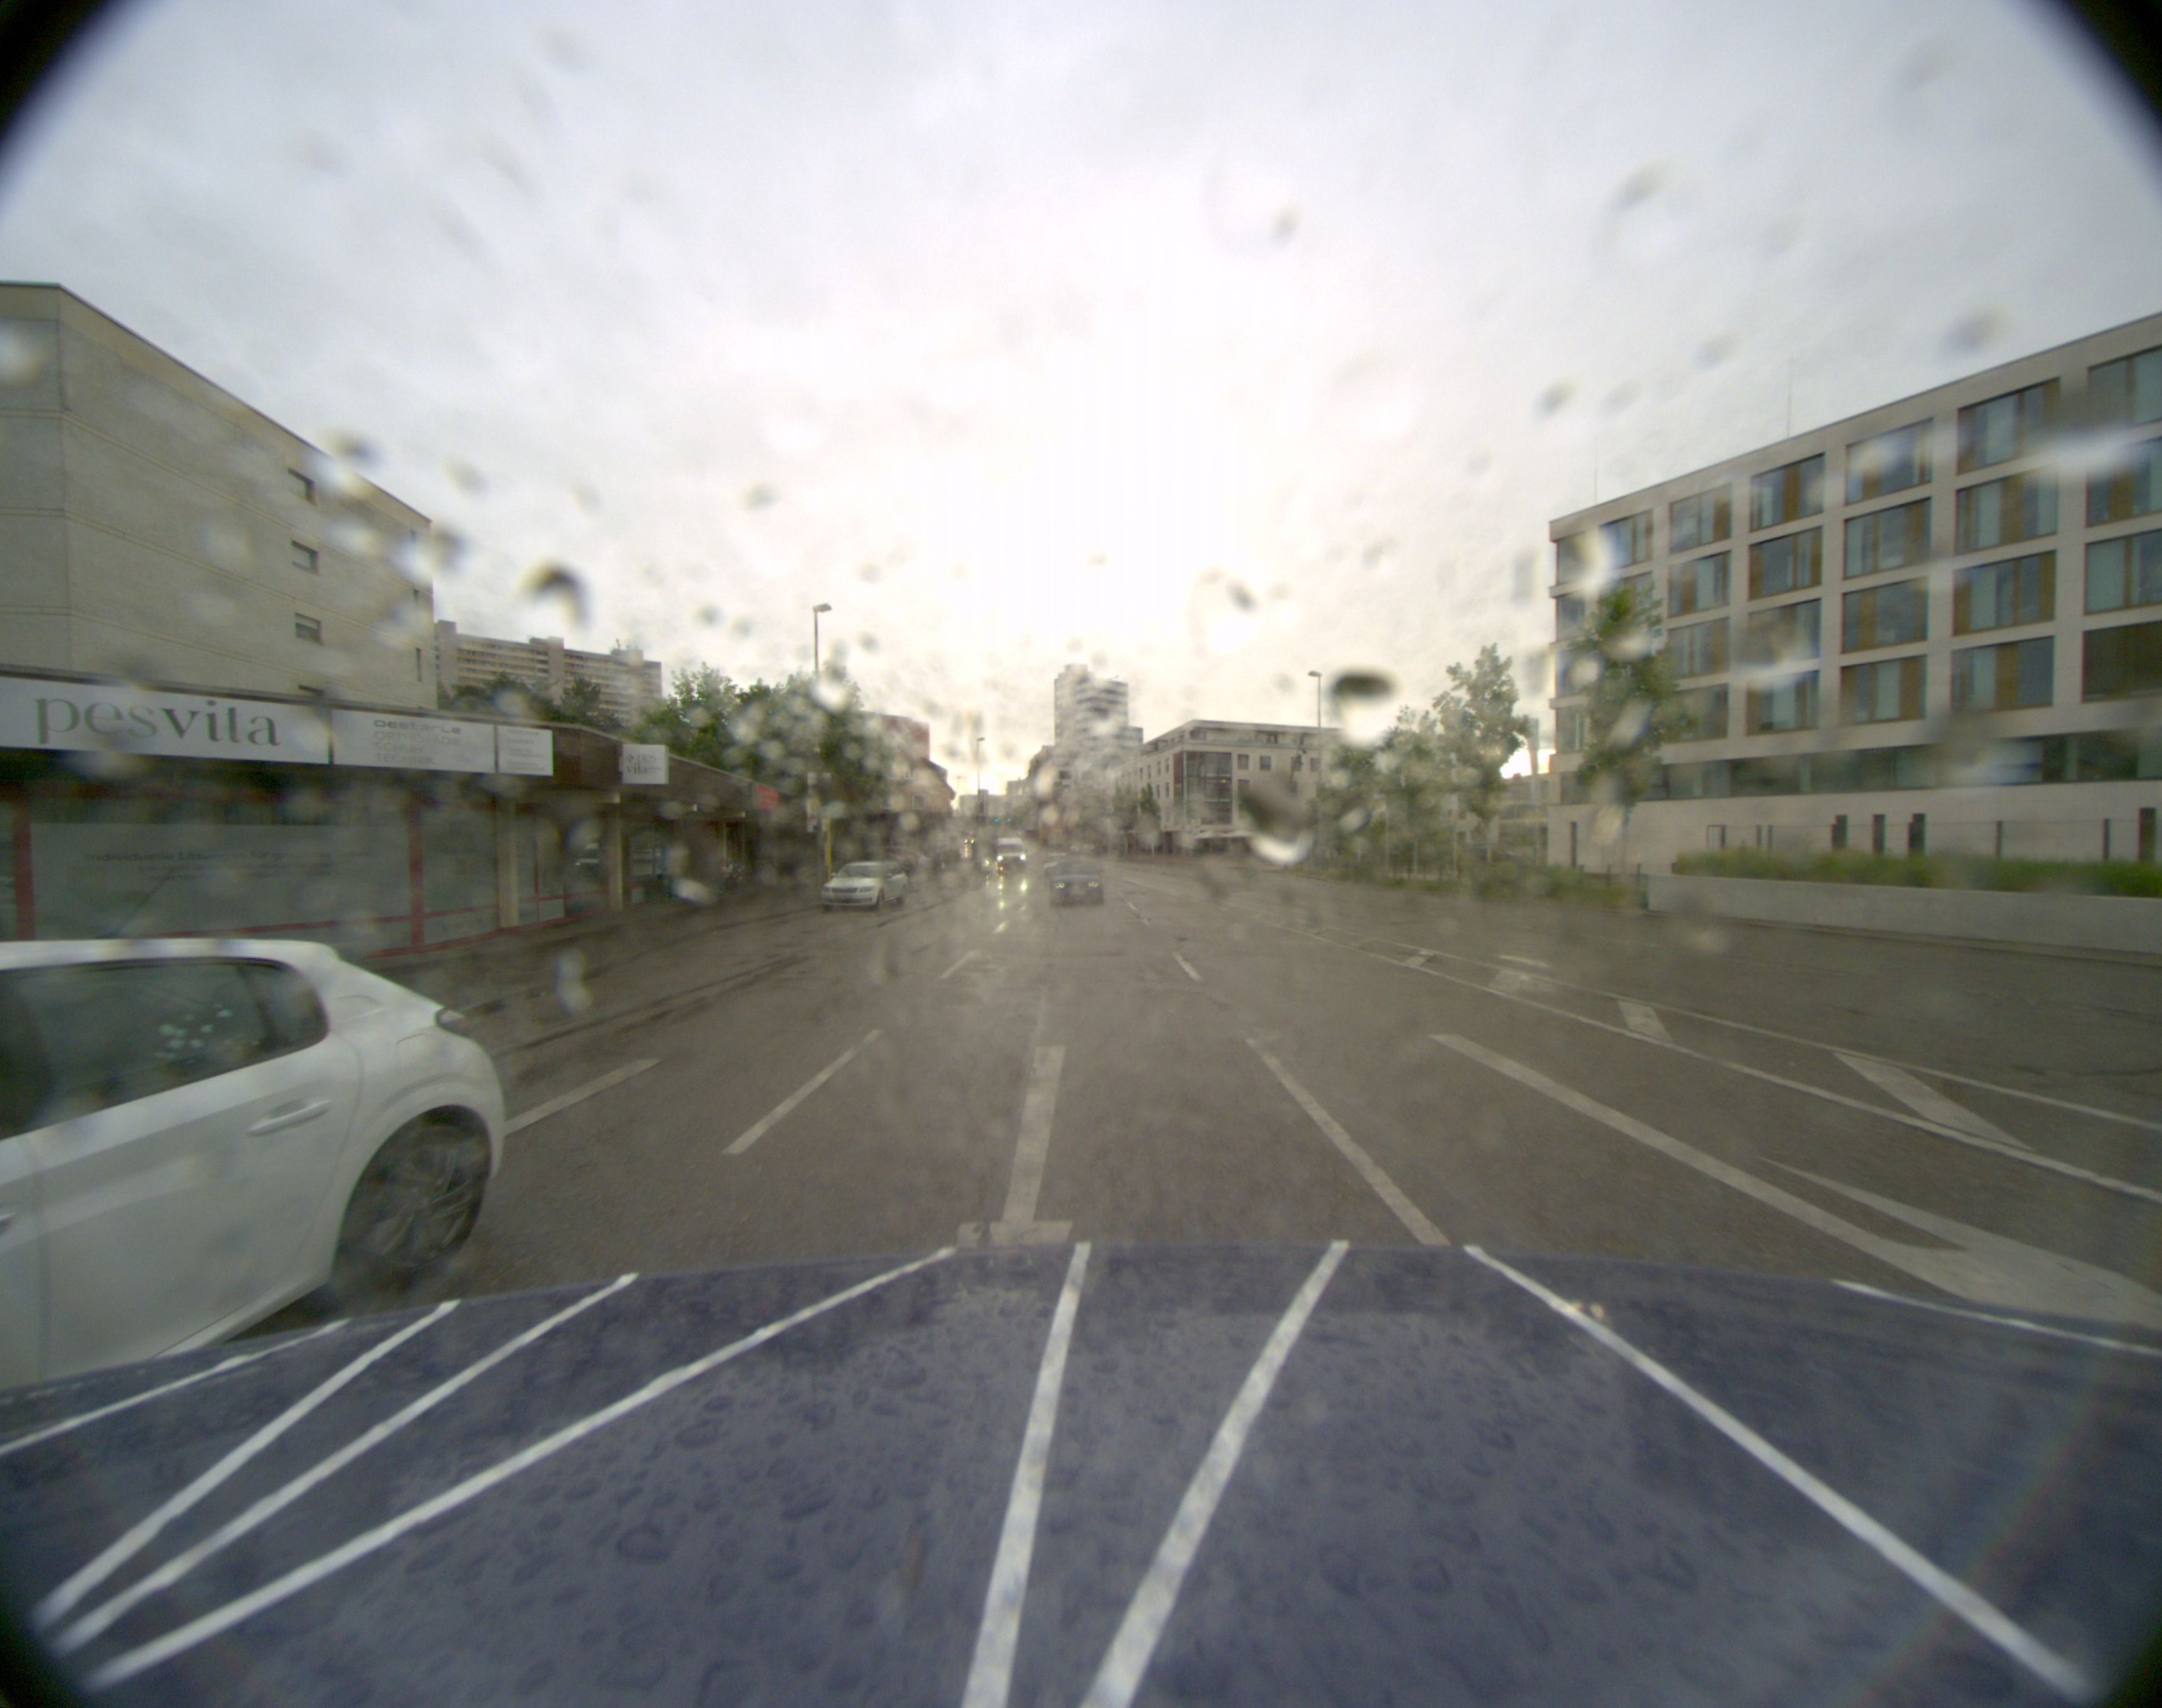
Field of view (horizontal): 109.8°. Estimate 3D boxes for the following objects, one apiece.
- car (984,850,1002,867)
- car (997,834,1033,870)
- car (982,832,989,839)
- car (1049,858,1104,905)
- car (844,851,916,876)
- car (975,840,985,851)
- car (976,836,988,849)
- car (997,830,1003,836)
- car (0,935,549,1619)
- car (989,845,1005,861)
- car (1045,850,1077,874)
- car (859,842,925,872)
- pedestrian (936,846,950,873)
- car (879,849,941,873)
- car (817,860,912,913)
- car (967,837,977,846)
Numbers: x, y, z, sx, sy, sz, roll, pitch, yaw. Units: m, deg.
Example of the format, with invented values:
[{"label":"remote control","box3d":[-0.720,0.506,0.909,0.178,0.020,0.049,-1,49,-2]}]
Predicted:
[{"label":"car","box3d":[-9.614,0.462,82.969,1.721,1.739,3.834,-2,0,-4]},{"label":"car","box3d":[-4.868,-0.189,56.937,2.197,2.503,6.121,-2,1,-2]},{"label":"car","box3d":[-25.844,-4.993,205.708,1.666,1.624,3.801,-2,0,-11]},{"label":"car","box3d":[-0.184,0.873,25.763,1.693,1.380,3.999,-2,0,-1]},{"label":"car","box3d":[-12.129,0.541,46.107,4.000,1.419,1.882,-1,0,-10]},{"label":"car","box3d":[-18.703,-1.550,141.053,1.722,1.988,3.833,-2,0,-8]},{"label":"car","box3d":[-15.621,-1.846,119.660,1.722,1.988,3.833,-2,0,-8]},{"label":"car","box3d":[-24.933,-6.322,232.682,1.666,1.624,3.802,-2,0,-8]},{"label":"car","box3d":[-3.391,1.115,1.527,1.666,1.407,4.115,-2,0,1]},{"label":"car","box3d":[-10.623,-0.102,96.356,1.721,1.988,3.834,-2,0,-4]},{"label":"car","box3d":[-1.233,0.471,48.904,1.788,1.338,4.162,-2,1,1]},{"label":"car","box3d":[-12.086,0.177,48.836,4.000,1.769,1.882,-1,0,-10]},{"label":"pedestrian","box3d":[-9.198,0.379,50.578,0.750,1.771,0.752,-2,1,-2]},{"label":"car","box3d":[-11.690,0.488,52.102,4.000,1.584,1.883,-1,-1,-10]},{"label":"car","box3d":[-6.868,0.980,24.497,1.788,1.481,4.000,-2,0,1]},{"label":"car","box3d":[-25.186,-2.874,176.213,1.999,2.002,3.997,-2,1,-6]}]
